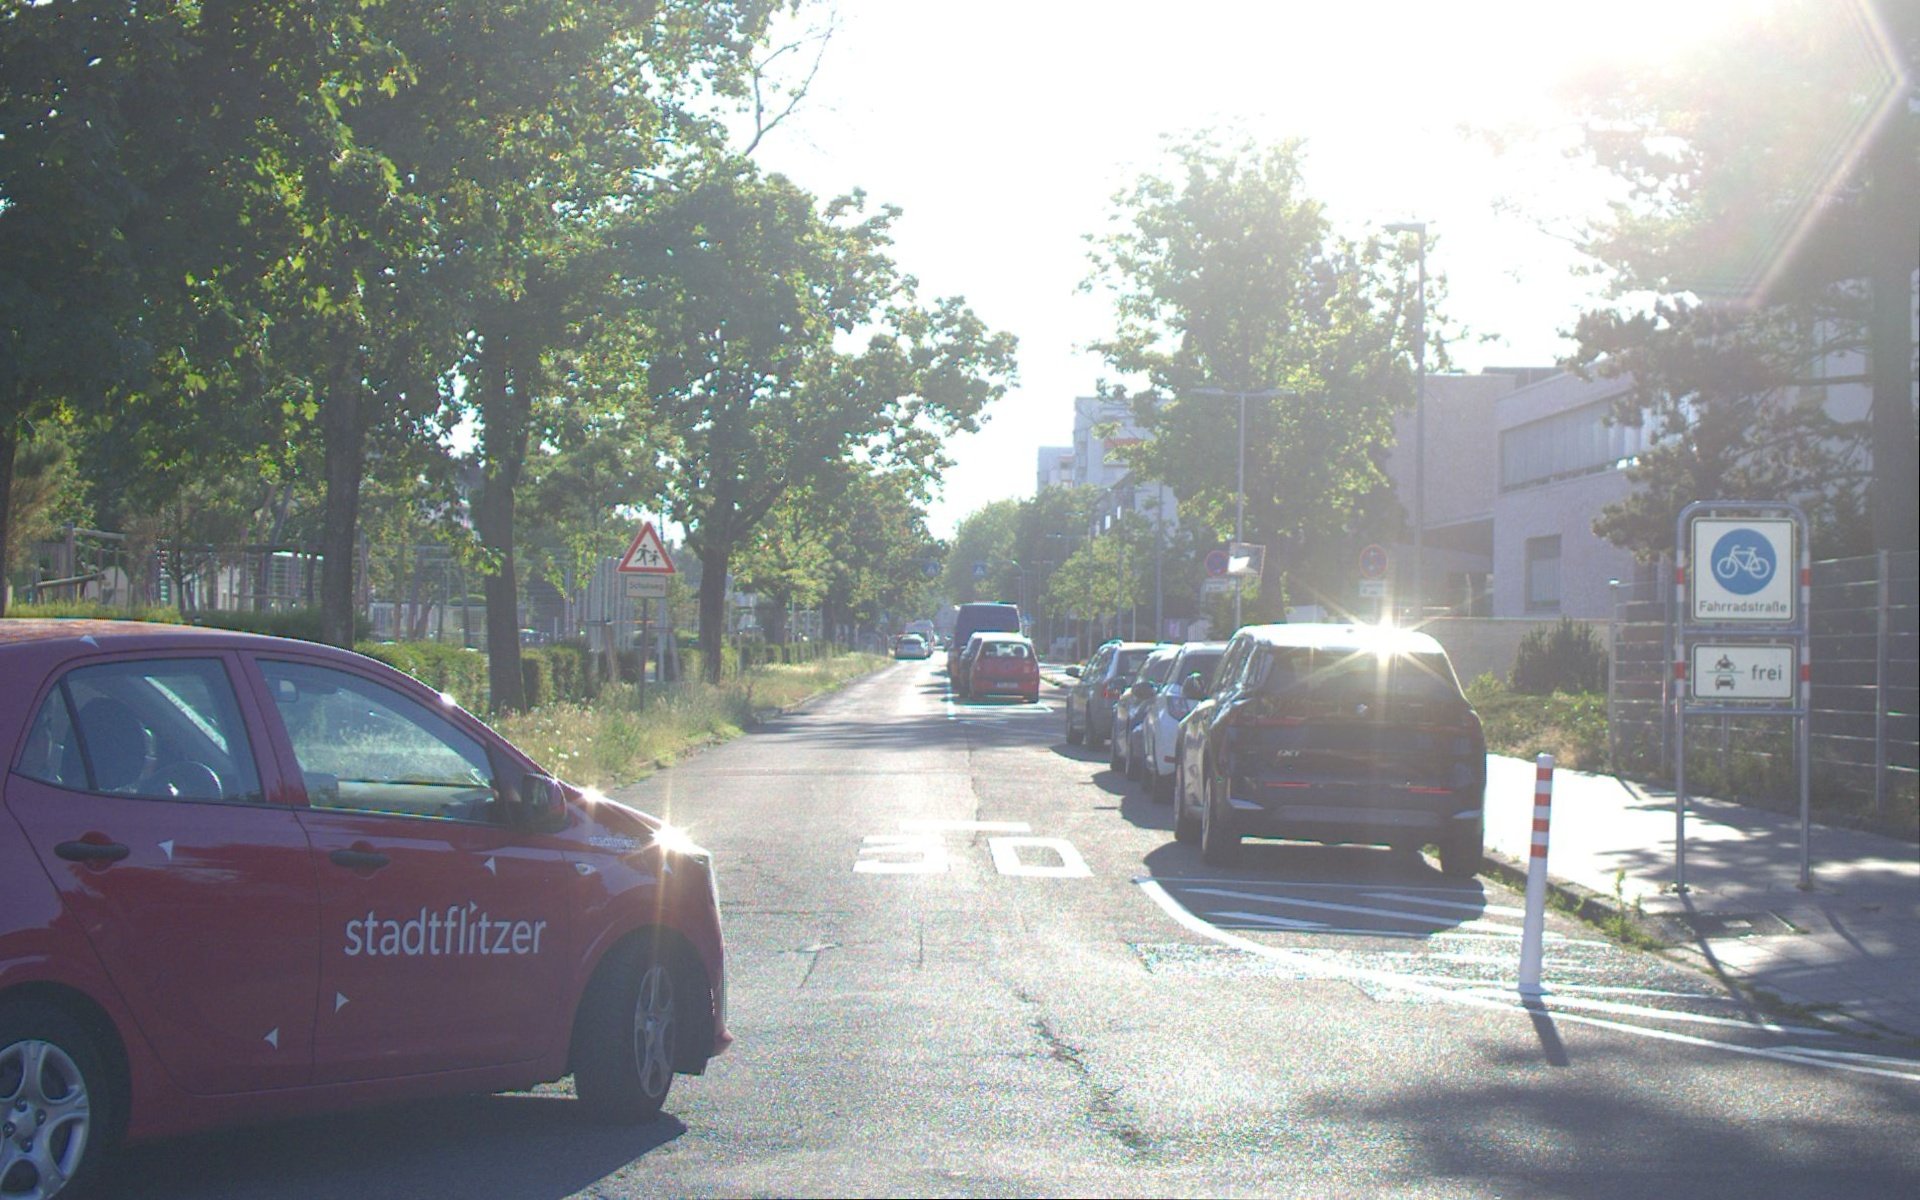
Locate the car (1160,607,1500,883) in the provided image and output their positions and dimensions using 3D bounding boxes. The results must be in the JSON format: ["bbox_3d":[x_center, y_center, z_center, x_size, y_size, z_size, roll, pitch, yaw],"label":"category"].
[{"bbox_3d":[2.456,0.939,23.795,1.817,1.636,4.216,3,-1,0],"label":"car"}]

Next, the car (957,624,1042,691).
[{"bbox_3d":[0.921,1.345,81.621,1.756,1.513,3.760,1,0,-3],"label":"car"}]

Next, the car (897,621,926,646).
[{"bbox_3d":[-3.226,2.248,229.275,1.865,1.612,4.000,1,0,-2],"label":"car"}]

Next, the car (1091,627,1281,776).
[{"bbox_3d":[2.415,1.069,37.536,1.730,1.513,3.760,1,0,-1],"label":"car"}]

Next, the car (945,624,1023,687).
[{"bbox_3d":[0.575,1.376,85.916,1.729,1.513,3.760,1,0,-3],"label":"car"}]

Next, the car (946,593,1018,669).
[{"bbox_3d":[0.624,0.883,99.223,1.993,2.116,4.000,1,0,0],"label":"car"}]

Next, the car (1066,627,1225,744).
[{"bbox_3d":[2.481,1.134,46.718,1.765,1.521,3.773,0,-1,-3],"label":"car"}]

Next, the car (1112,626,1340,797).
[{"bbox_3d":[2.461,1.015,32.642,1.765,1.521,3.773,0,-1,-2],"label":"car"}]

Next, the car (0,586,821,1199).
[{"bbox_3d":[-2.216,0.741,9.631,1.768,1.521,3.765,-1,-1,34],"label":"car"}]
